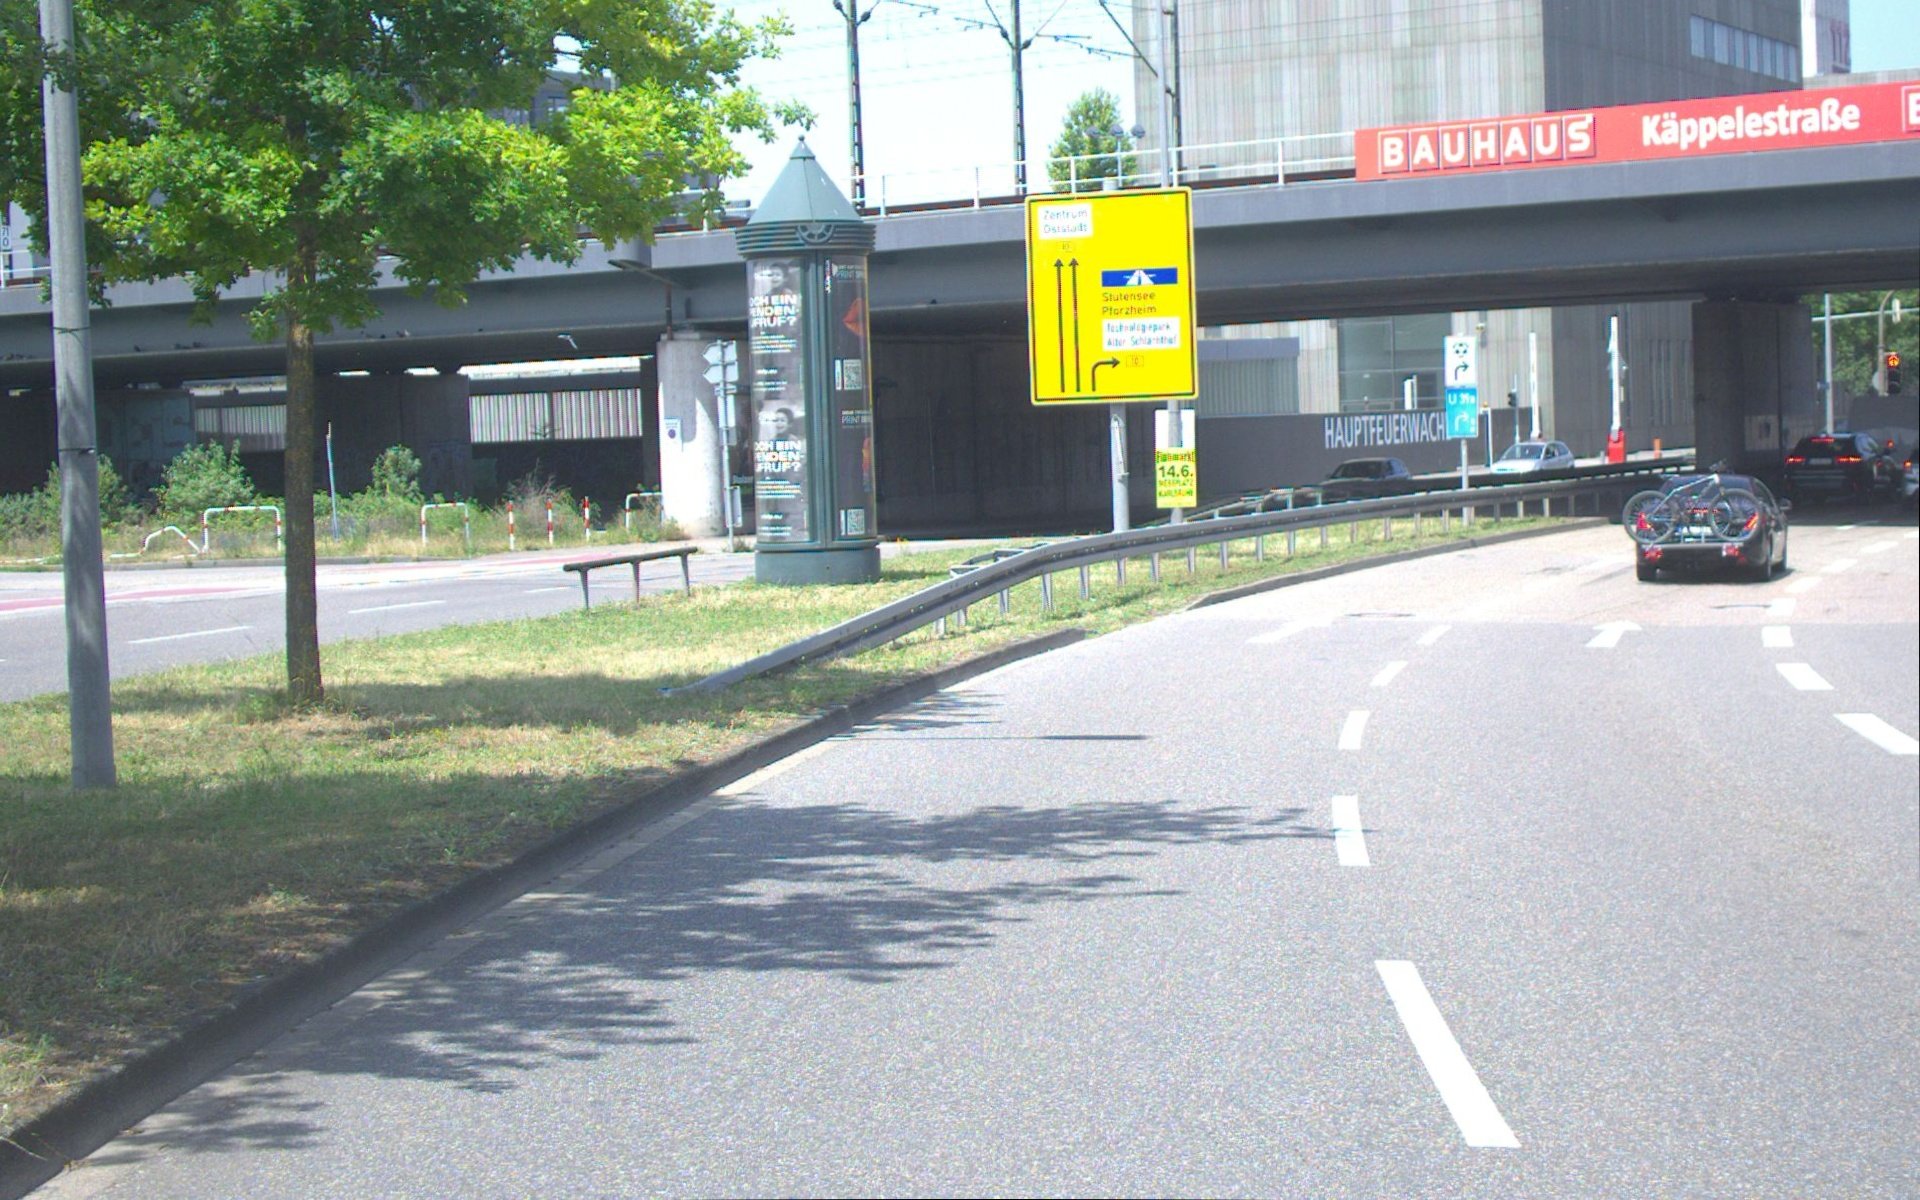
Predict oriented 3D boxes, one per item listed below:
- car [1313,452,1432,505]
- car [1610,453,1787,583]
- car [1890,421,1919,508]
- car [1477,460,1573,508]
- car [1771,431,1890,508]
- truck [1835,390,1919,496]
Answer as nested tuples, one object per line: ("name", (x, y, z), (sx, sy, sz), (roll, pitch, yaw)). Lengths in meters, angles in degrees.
("car", (10.973, -3.223, 91.160), (1.657, 1.374, 4.211), (0, 2, 29))
("car", (9.987, -1.135, 46.277), (1.958, 1.628, 4.277), (2, 3, 17))
("car", (21.796, -2.982, 75.771), (1.843, 1.883, 3.995), (0, 2, 25))
("car", (18.222, -3.713, 110.766), (1.996, 1.436, 3.995), (-2, 1, 26))
("car", (20.089, -2.996, 79.232), (1.943, 1.715, 3.995), (0, 2, 25))
("truck", (23.463, -3.912, 85.935), (2.071, 2.529, 3.994), (-1, 2, 29))
